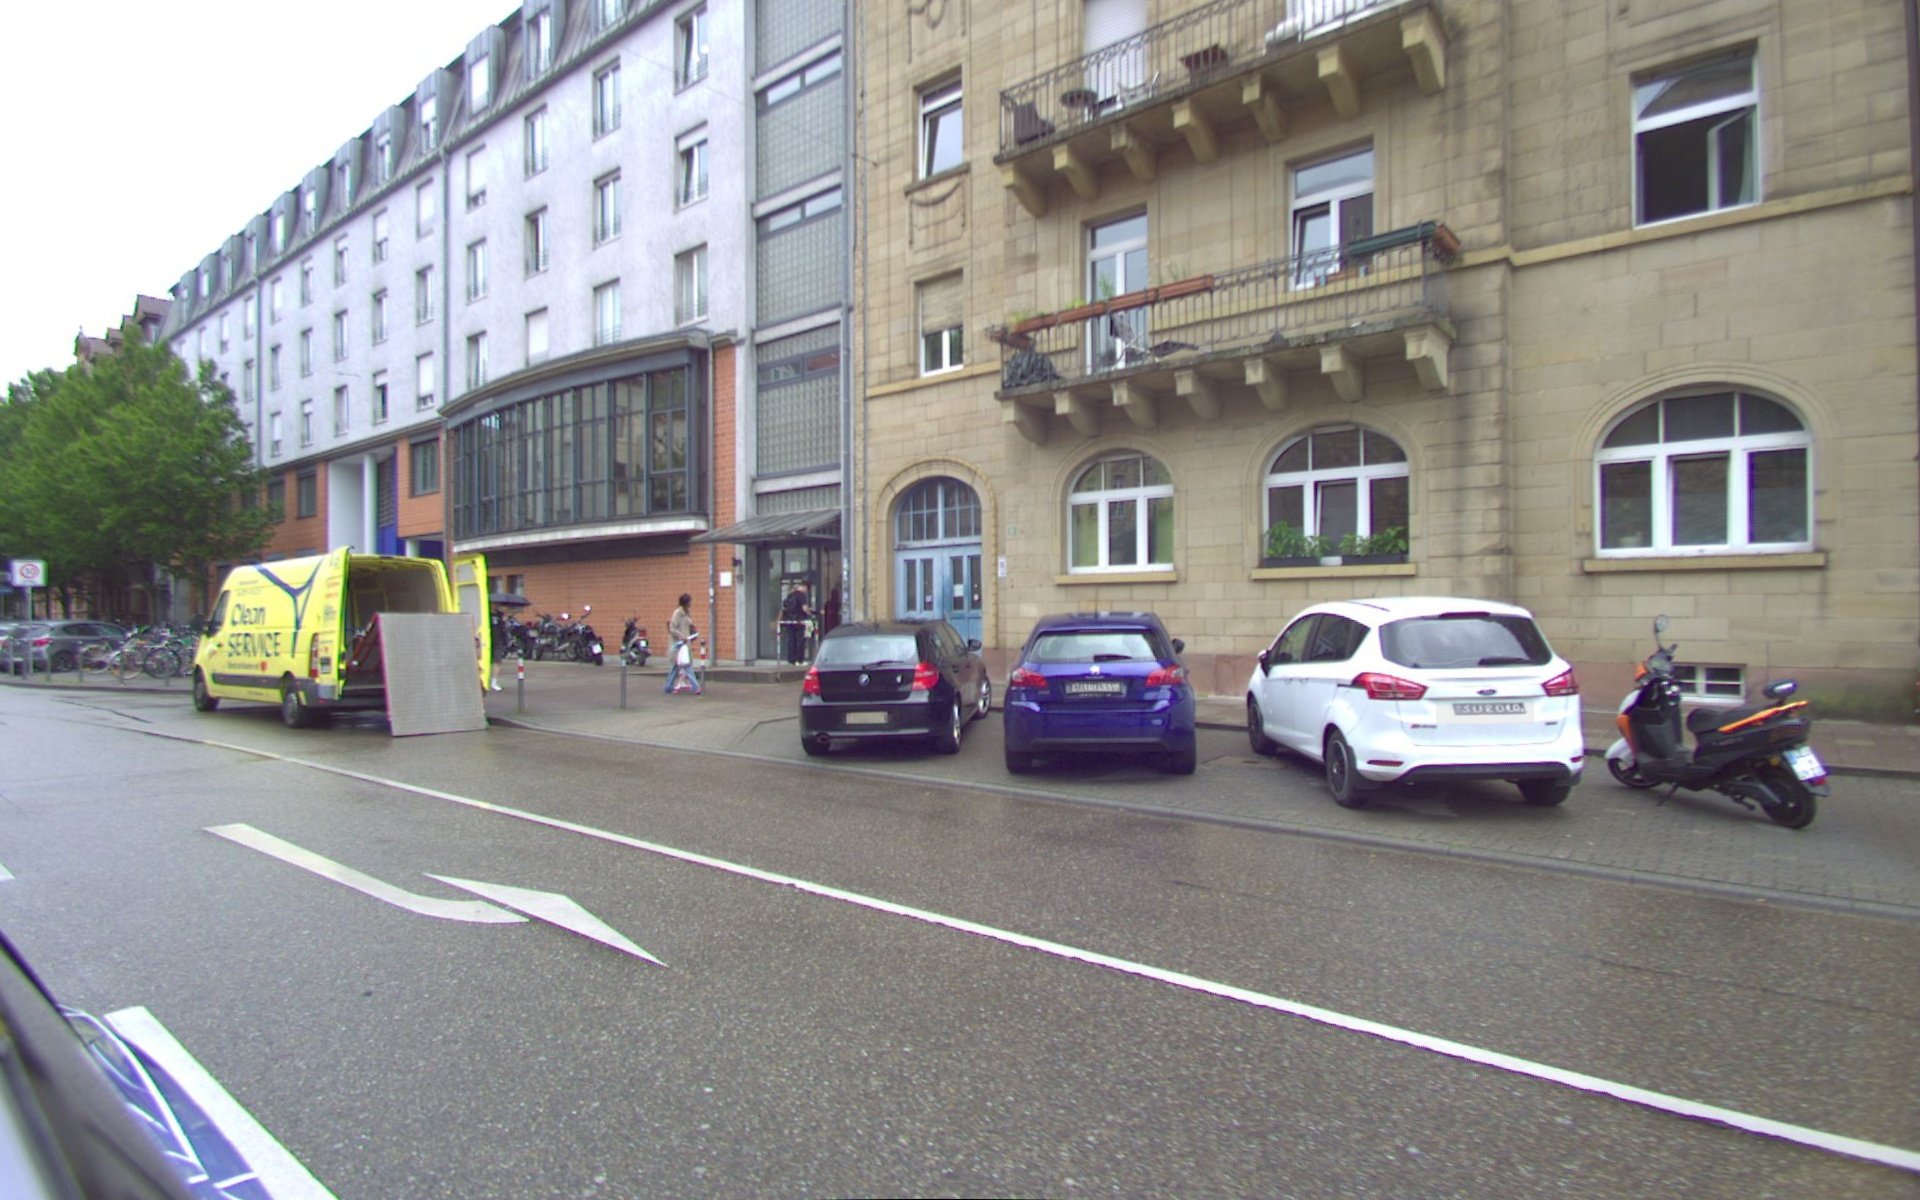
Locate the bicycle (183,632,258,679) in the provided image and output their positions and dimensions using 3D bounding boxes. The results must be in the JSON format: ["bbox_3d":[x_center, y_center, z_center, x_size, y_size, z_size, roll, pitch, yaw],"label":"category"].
[{"bbox_3d":[-18.111,1.334,24.798,0.418,1.072,1.442,-1,0,44],"label":"bicycle"}]

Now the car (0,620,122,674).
[{"bbox_3d":[-27.568,1.392,30.740,1.436,1.514,3.070,-1,-1,9],"label":"car"}]

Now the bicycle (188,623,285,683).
[{"bbox_3d":[-16.668,1.200,23.380,0.760,1.225,1.917,0,2,5],"label":"bicycle"}]

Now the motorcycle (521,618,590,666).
[{"bbox_3d":[-10.370,1.068,25.898,2.202,1.165,0.643,-1,-1,39],"label":"motorcycle"}]

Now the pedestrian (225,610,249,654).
[{"bbox_3d":[-26.725,1.193,37.394,0.596,1.622,0.373,0,-1,-10],"label":"pedestrian"}]

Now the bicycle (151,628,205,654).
[{"bbox_3d":[-30.109,1.575,38.967,0.444,0.992,1.573,-1,-2,32],"label":"bicycle"}]

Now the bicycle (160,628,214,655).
[{"bbox_3d":[-29.227,1.572,38.272,0.444,0.992,1.573,-1,-2,32],"label":"bicycle"}]

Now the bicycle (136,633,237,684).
[{"bbox_3d":[-18.222,1.364,23.879,1.832,1.081,0.610,-1,0,-44],"label":"bicycle"}]

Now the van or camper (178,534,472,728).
[{"bbox_3d":[-10.451,0.497,16.433,5.935,2.631,2.174,-1,-2,39],"label":"van or camper"}]

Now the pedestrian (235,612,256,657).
[{"bbox_3d":[-25.976,1.250,36.808,0.506,1.622,0.427,0,-2,-22],"label":"pedestrian"}]

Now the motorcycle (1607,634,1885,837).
[{"bbox_3d":[5.520,0.881,7.281,0.626,1.170,1.870,0,1,4],"label":"motorcycle"}]

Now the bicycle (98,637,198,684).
[{"bbox_3d":[-19.224,1.408,23.986,0.519,1.001,1.778,-1,0,38],"label":"bicycle"}]

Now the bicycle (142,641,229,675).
[{"bbox_3d":[-19.933,1.468,26.074,0.455,0.767,1.757,-1,0,27],"label":"bicycle"}]

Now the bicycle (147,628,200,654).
[{"bbox_3d":[-30.682,1.578,39.516,0.444,0.992,1.573,-1,-2,32],"label":"bicycle"}]

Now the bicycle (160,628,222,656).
[{"bbox_3d":[-28.839,1.570,37.976,0.444,0.992,1.830,-1,-2,32],"label":"bicycle"}]

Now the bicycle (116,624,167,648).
[{"bbox_3d":[-33.921,1.480,41.975,0.464,0.992,1.573,-1,-2,32],"label":"bicycle"}]

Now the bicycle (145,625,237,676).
[{"bbox_3d":[-19.493,1.260,25.692,0.517,1.203,1.798,-1,0,27],"label":"bicycle"}]

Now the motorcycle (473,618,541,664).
[{"bbox_3d":[-12.221,1.081,27.284,2.272,1.165,0.827,-1,-1,42],"label":"motorcycle"}]

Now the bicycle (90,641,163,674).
[{"bbox_3d":[-22.561,1.544,27.409,0.497,0.811,1.454,-1,0,43],"label":"bicycle"}]

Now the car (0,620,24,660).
[{"bbox_3d":[-38.581,1.592,39.628,1.138,1.567,2.672,-1,-1,11],"label":"car"}]

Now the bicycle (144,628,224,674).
[{"bbox_3d":[-20.362,1.317,26.594,0.517,1.114,1.596,-1,0,27],"label":"bicycle"}]

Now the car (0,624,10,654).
[{"bbox_3d":[-48.880,1.934,49.529,1.662,1.502,3.798,1,-2,-10],"label":"car"}]

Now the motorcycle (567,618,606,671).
[{"bbox_3d":[-8.955,1.033,24.202,0.516,1.190,2.010,-1,-1,-30],"label":"motorcycle"}]

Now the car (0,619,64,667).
[{"bbox_3d":[-32.078,1.441,33.907,1.432,1.564,3.078,-1,-1,0],"label":"car"}]

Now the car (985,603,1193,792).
[{"bbox_3d":[1.477,0.872,10.683,1.780,1.585,4.029,0,-1,11],"label":"car"}]

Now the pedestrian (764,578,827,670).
[{"bbox_3d":[-3.236,0.472,19.934,0.785,1.741,0.997,-1,-2,31],"label":"pedestrian"}]

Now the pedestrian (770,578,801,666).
[{"bbox_3d":[-3.559,0.453,20.634,0.467,1.761,0.608,1,-2,-24],"label":"pedestrian"}]

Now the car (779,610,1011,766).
[{"bbox_3d":[-0.567,0.910,12.020,1.780,1.523,4.029,0,-1,11],"label":"car"}]

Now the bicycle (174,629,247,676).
[{"bbox_3d":[-18.707,1.302,25.295,1.439,1.111,0.462,-1,0,-36],"label":"bicycle"}]

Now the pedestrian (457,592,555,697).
[{"bbox_3d":[-8.492,0.794,18.937,1.060,1.859,1.336,-1,0,40],"label":"pedestrian"}]

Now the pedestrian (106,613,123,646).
[{"bbox_3d":[-42.066,1.474,50.371,0.533,1.609,0.564,-1,-2,41],"label":"pedestrian"}]

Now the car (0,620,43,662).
[{"bbox_3d":[-36.349,1.548,37.741,1.358,1.567,2.971,-1,-1,11],"label":"car"}]

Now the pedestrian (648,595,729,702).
[{"bbox_3d":[-4.599,0.799,17.140,1.171,1.741,0.777,-1,0,39],"label":"pedestrian"}]

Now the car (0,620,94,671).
[{"bbox_3d":[-29.664,1.436,32.297,1.432,1.514,3.078,-1,-1,0],"label":"car"}]

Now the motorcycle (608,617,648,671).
[{"bbox_3d":[-7.697,1.003,23.414,0.516,1.190,1.763,-1,-1,-30],"label":"motorcycle"}]

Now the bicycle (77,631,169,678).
[{"bbox_3d":[-21.939,1.404,26.547,0.472,1.114,1.791,-1,0,35],"label":"bicycle"}]

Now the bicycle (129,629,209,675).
[{"bbox_3d":[-20.981,1.364,26.853,0.519,1.114,1.591,-1,0,36],"label":"bicycle"}]

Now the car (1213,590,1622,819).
[{"bbox_3d":[3.647,0.766,8.990,1.773,1.567,4.043,0,-1,0],"label":"car"}]

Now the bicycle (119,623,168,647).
[{"bbox_3d":[-35.181,1.497,43.630,0.464,0.992,1.573,-1,-2,32],"label":"bicycle"}]

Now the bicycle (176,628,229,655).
[{"bbox_3d":[-29.243,1.591,39.098,0.444,0.992,1.573,-1,-2,32],"label":"bicycle"}]

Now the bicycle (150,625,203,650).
[{"bbox_3d":[-31.018,1.472,40.085,0.444,0.992,1.573,-1,-2,32],"label":"bicycle"}]

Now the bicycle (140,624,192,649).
[{"bbox_3d":[-31.974,1.476,40.757,0.464,0.992,1.573,-1,-2,32],"label":"bicycle"}]

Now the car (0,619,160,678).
[{"bbox_3d":[-25.273,1.330,28.927,1.720,1.514,3.613,0,0,9],"label":"car"}]
